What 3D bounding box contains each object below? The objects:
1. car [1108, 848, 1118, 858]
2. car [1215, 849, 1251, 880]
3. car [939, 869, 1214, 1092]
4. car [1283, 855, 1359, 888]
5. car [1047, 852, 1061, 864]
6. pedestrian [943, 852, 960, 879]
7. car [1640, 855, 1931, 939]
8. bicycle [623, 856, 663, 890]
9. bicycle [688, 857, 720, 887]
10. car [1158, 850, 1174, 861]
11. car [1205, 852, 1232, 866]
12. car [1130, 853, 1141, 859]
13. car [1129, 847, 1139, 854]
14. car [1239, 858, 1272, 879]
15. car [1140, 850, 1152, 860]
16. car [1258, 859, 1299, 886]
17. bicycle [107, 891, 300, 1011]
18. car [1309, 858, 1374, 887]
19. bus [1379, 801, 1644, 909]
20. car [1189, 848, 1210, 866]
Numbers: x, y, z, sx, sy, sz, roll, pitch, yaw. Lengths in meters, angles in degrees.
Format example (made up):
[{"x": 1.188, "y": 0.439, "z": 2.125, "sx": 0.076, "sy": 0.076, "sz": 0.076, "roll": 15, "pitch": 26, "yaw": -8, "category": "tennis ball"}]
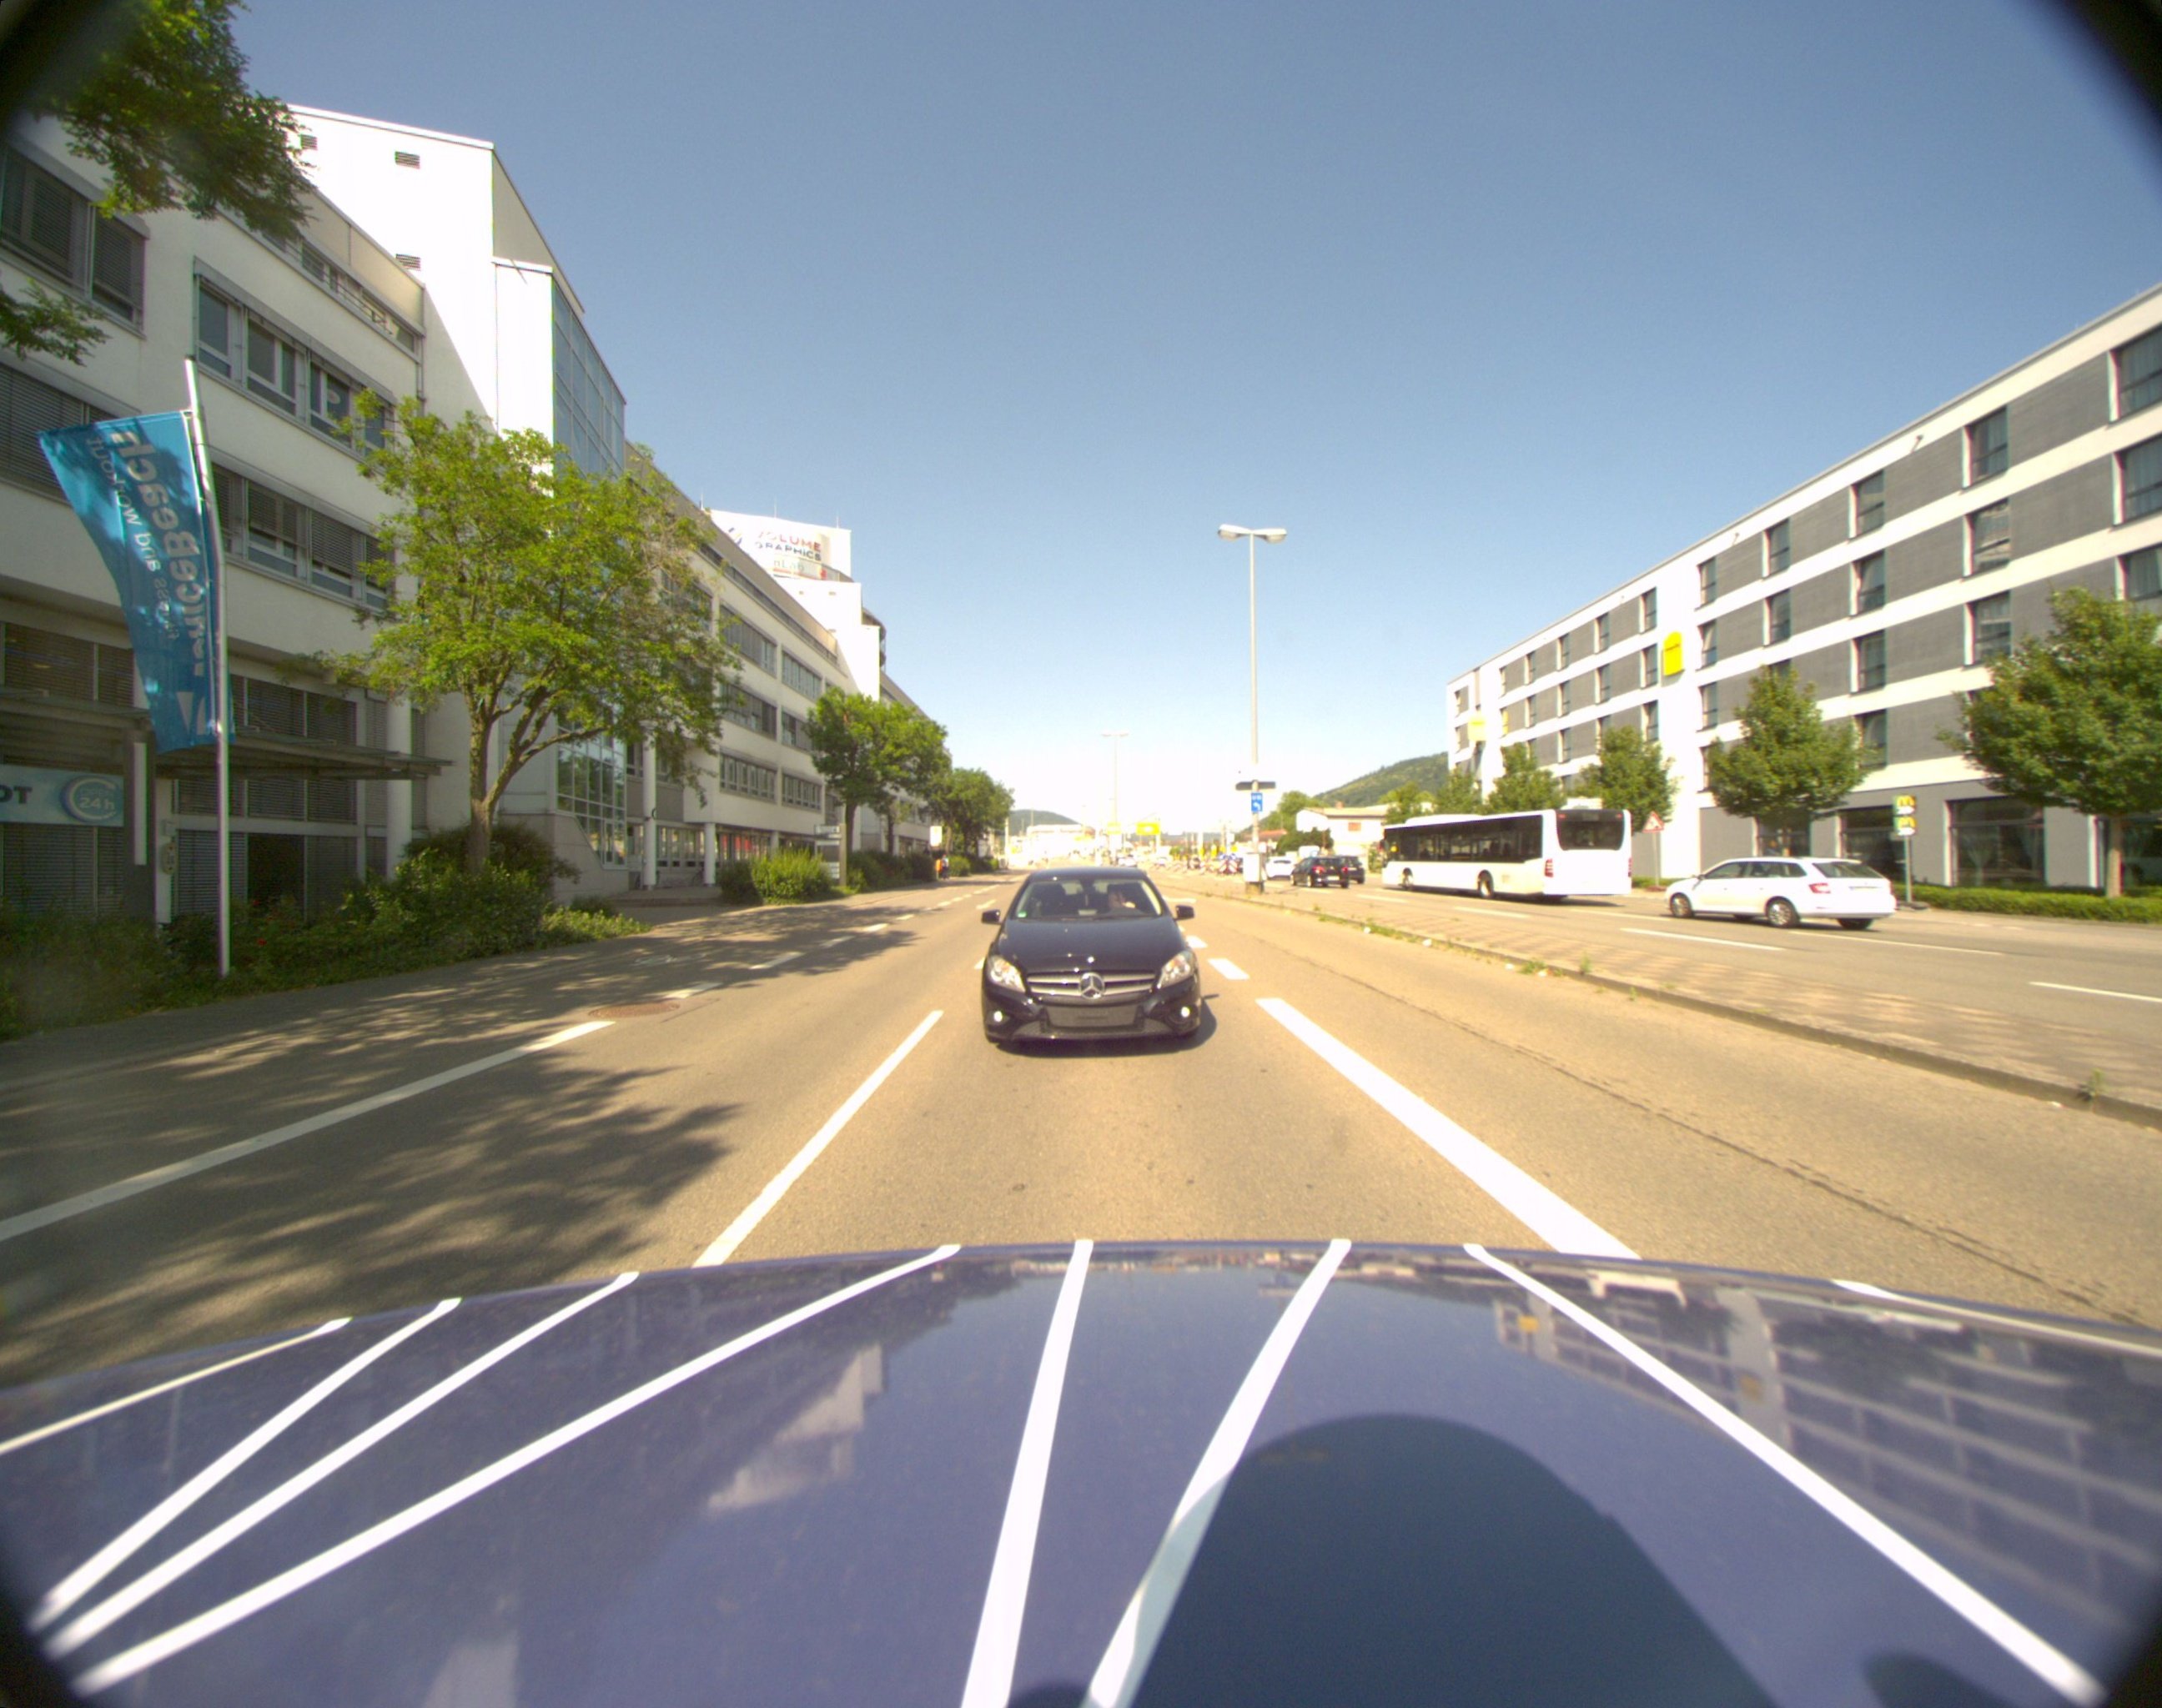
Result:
[{"x": 6.862, "y": -0.168, "z": 162.435, "sx": 1.998, "sy": 2.002, "sz": 3.999, "roll": -2, "pitch": 1, "yaw": 1, "category": "car"}, {"x": 10.719, "y": 0.723, "z": 53.787, "sx": 1.679, "sy": 2.002, "sz": 4.164, "roll": -2, "pitch": 1, "yaw": 1, "category": "car"}, {"x": -0.005, "y": 0.932, "z": 7.651, "sx": 1.905, "sy": 1.431, "sz": 4.693, "roll": -1, "pitch": 0, "yaw": 1, "category": "car"}, {"x": 11.246, "y": 0.783, "z": 35.981, "sx": 1.998, "sy": 1.424, "sz": 4.890, "roll": -1, "pitch": 0, "yaw": 0, "category": "car"}, {"x": -4.680, "y": 0.692, "z": 132.150, "sx": 1.998, "sy": 2.002, "sz": 4.000, "roll": -2, "pitch": 1, "yaw": 2, "category": "car"}, {"x": -9.185, "y": 0.775, "z": 53.922, "sx": 0.942, "sy": 1.875, "sz": 1.289, "roll": 2, "pitch": 1, "yaw": 0, "category": "pedestrian"}, {"x": 15.008, "y": 0.831, "z": 16.620, "sx": 1.999, "sy": 1.477, "sz": 4.410, "roll": 2, "pitch": 1, "yaw": -5, "category": "car"}, {"x": -18.060, "y": 0.767, "z": 31.351, "sx": 0.506, "sy": 1.346, "sz": 1.884, "roll": -1, "pitch": 0, "yaw": 1, "category": "bicycle"}, {"x": -17.719, "y": 0.815, "z": 35.749, "sx": 0.506, "sy": 1.346, "sz": 1.884, "roll": -1, "pitch": 0, "yaw": 1, "category": "bicycle"}, {"x": 13.264, "y": 0.287, "z": 119.174, "sx": 1.998, "sy": 1.702, "sz": 4.891, "roll": -1, "pitch": -1, "yaw": 1, "category": "car"}, {"x": 14.698, "y": 0.507, "z": 81.328, "sx": 1.998, "sy": 1.514, "sz": 4.891, "roll": -1, "pitch": 0, "yaw": 1, "category": "car"}, {"x": 11.995, "y": 0.360, "z": 166.887, "sx": 1.815, "sy": 1.328, "sz": 3.937, "roll": -1, "pitch": 0, "yaw": -3, "category": "car"}, {"x": 13.064, "y": -0.845, "z": 187.798, "sx": 1.999, "sy": 1.725, "sz": 3.999, "roll": -1, "pitch": 0, "yaw": -2, "category": "car"}, {"x": 14.053, "y": 1.169, "z": 61.417, "sx": 1.718, "sy": 1.609, "sz": 3.591, "roll": -1, "pitch": 0, "yaw": -2, "category": "car"}, {"x": 12.935, "y": 0.217, "z": 150.568, "sx": 1.999, "sy": 2.002, "sz": 3.999, "roll": 0, "pitch": 0, "yaw": -1, "category": "car"}, {"x": 12.364, "y": 1.127, "z": 47.776, "sx": 1.763, "sy": 1.443, "sz": 4.000, "roll": -2, "pitch": 1, "yaw": 4, "category": "car"}, {"x": -11.275, "y": 1.186, "z": 9.872, "sx": 0.506, "sy": 1.321, "sz": 1.883, "roll": 0, "pitch": 0, "yaw": -8, "category": "bicycle"}, {"x": 14.519, "y": 0.991, "z": 42.692, "sx": 1.998, "sy": 1.514, "sz": 4.891, "roll": -1, "pitch": 0, "yaw": 1, "category": "car"}, {"x": 14.686, "y": -0.007, "z": 27.770, "sx": 2.745, "sy": 3.061, "sz": 11.974, "roll": 1, "pitch": 0, "yaw": 0, "category": "bus"}, {"x": 13.978, "y": 0.309, "z": 89.680, "sx": 1.998, "sy": 2.002, "sz": 4.000, "roll": -2, "pitch": 1, "yaw": 3, "category": "car"}]
